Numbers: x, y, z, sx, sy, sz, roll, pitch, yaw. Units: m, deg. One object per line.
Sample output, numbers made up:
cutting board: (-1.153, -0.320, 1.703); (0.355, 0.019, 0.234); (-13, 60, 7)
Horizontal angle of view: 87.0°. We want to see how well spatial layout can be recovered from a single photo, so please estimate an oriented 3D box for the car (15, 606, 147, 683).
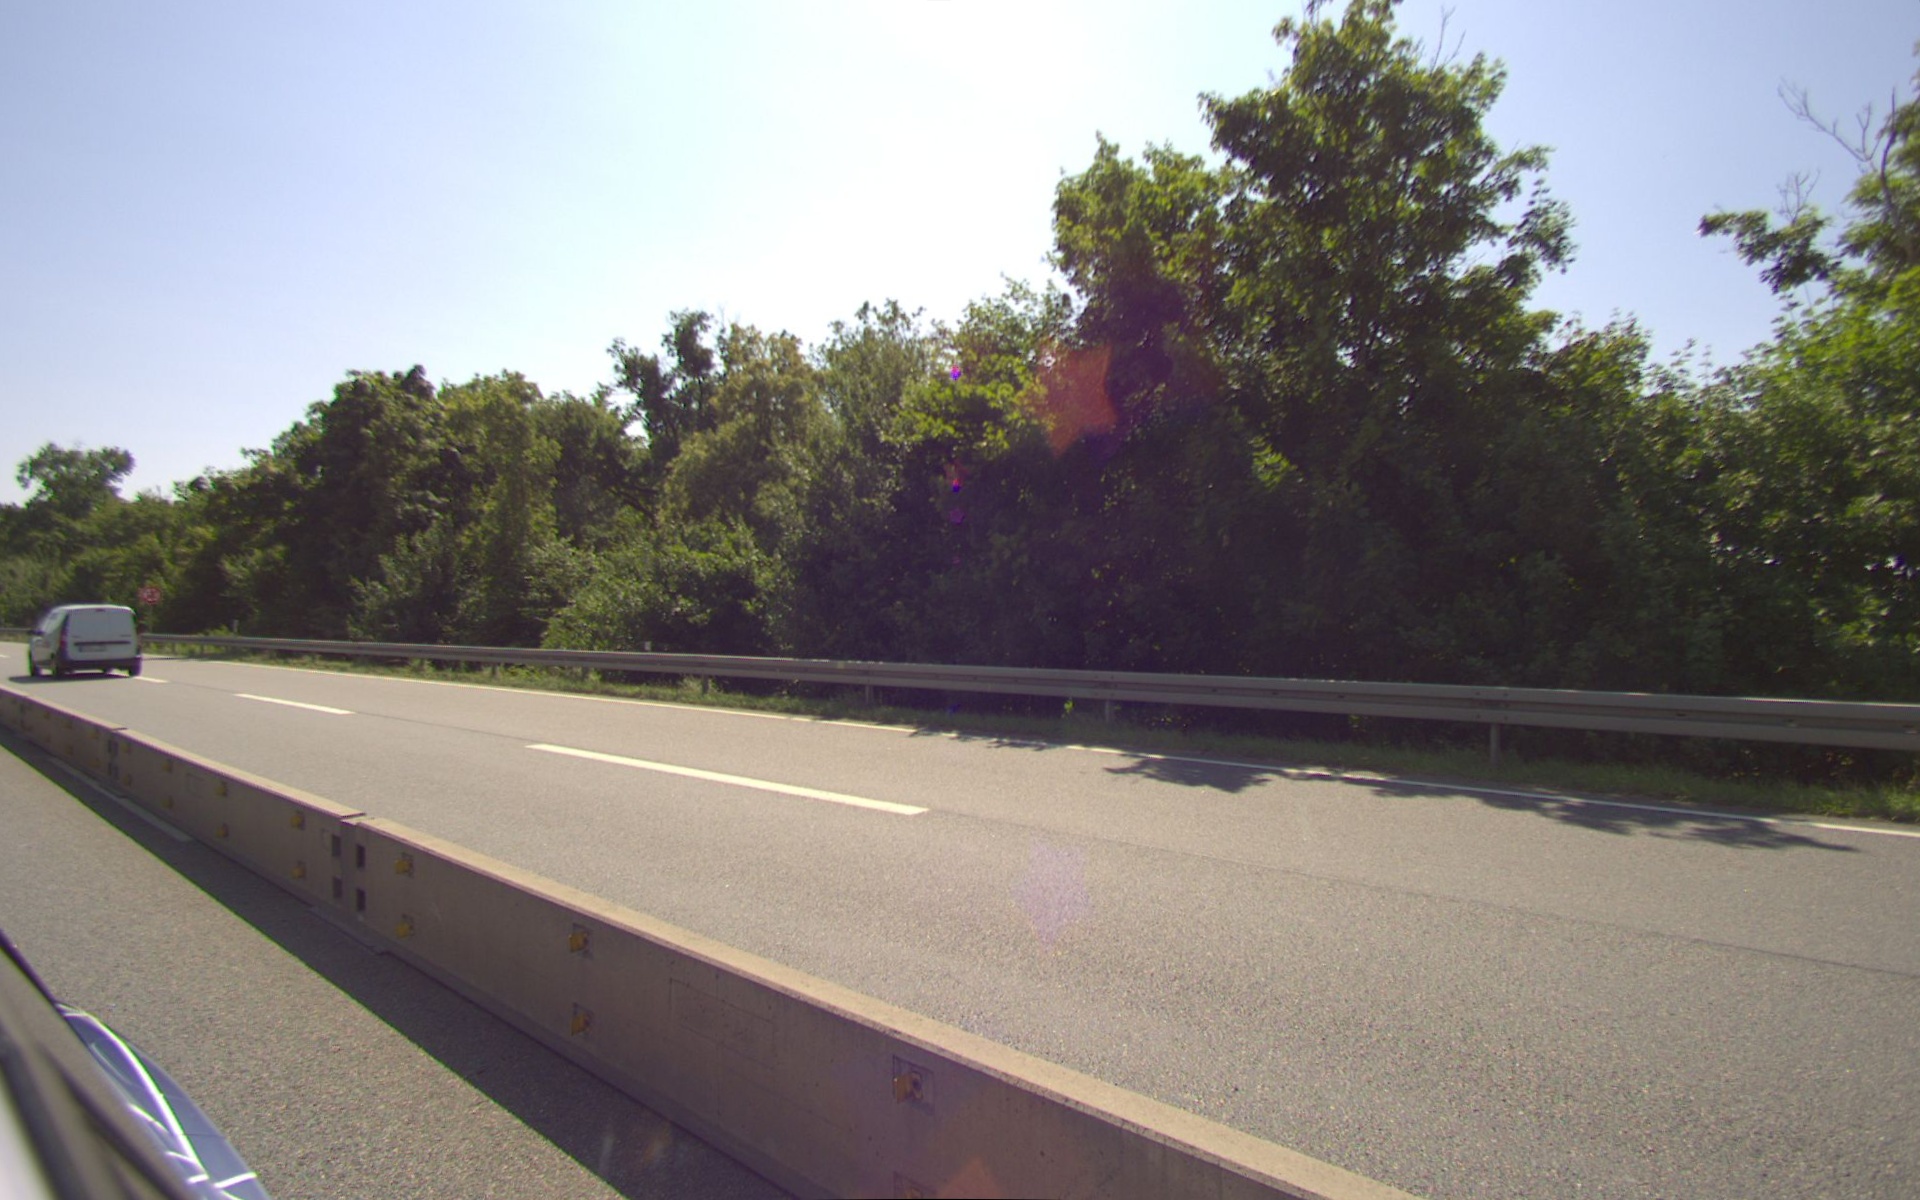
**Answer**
car: (-22.473, 1.088, 25.817); (4.278, 1.778, 1.739); (-1, 0, 38)
